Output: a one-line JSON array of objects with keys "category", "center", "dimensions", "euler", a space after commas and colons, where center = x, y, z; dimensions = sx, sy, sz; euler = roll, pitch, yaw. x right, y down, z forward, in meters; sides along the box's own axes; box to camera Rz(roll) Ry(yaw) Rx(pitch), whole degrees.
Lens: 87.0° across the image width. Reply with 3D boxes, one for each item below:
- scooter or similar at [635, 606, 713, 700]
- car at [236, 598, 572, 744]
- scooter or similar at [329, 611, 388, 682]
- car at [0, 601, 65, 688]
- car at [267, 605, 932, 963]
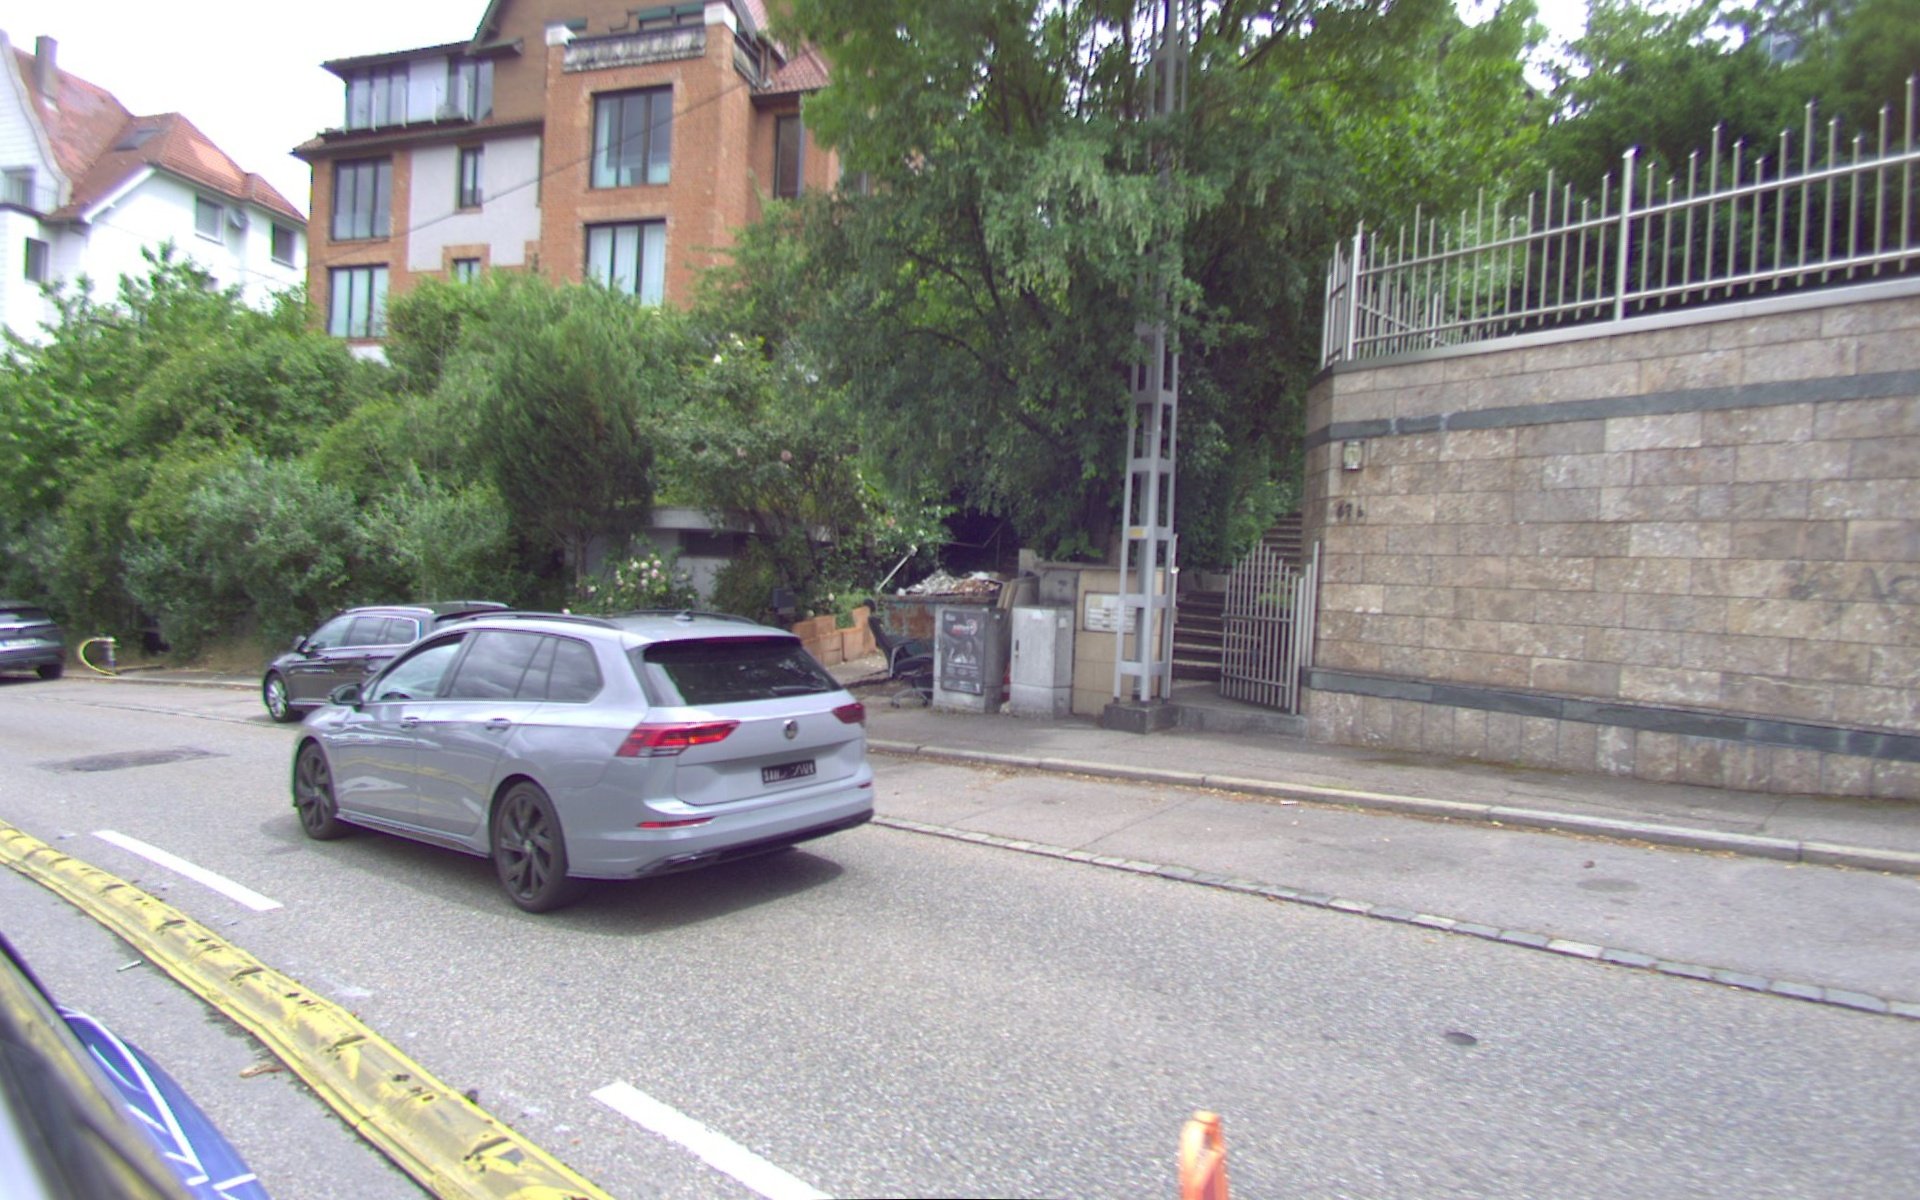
[{"category": "scooter or similar", "center": [-3.986, 0.716, 14.083], "dimensions": [1.119, 1.241, 0.412], "euler": [0, 2, 37]}, {"category": "car", "center": [-7.084, 0.776, 12.728], "dimensions": [4.671, 1.462, 1.722], "euler": [-1, 2, 34]}, {"category": "scooter or similar", "center": [-10.750, 0.817, 18.087], "dimensions": [1.040, 1.222, 0.347], "euler": [-1, 2, 26]}, {"category": "car", "center": [-20.138, 0.874, 20.349], "dimensions": [4.163, 1.618, 1.678], "euler": [0, 2, 26]}, {"category": "car", "center": [-2.383, 0.780, 6.118], "dimensions": [4.302, 1.446, 1.751], "euler": [-1, -1, 38]}]
